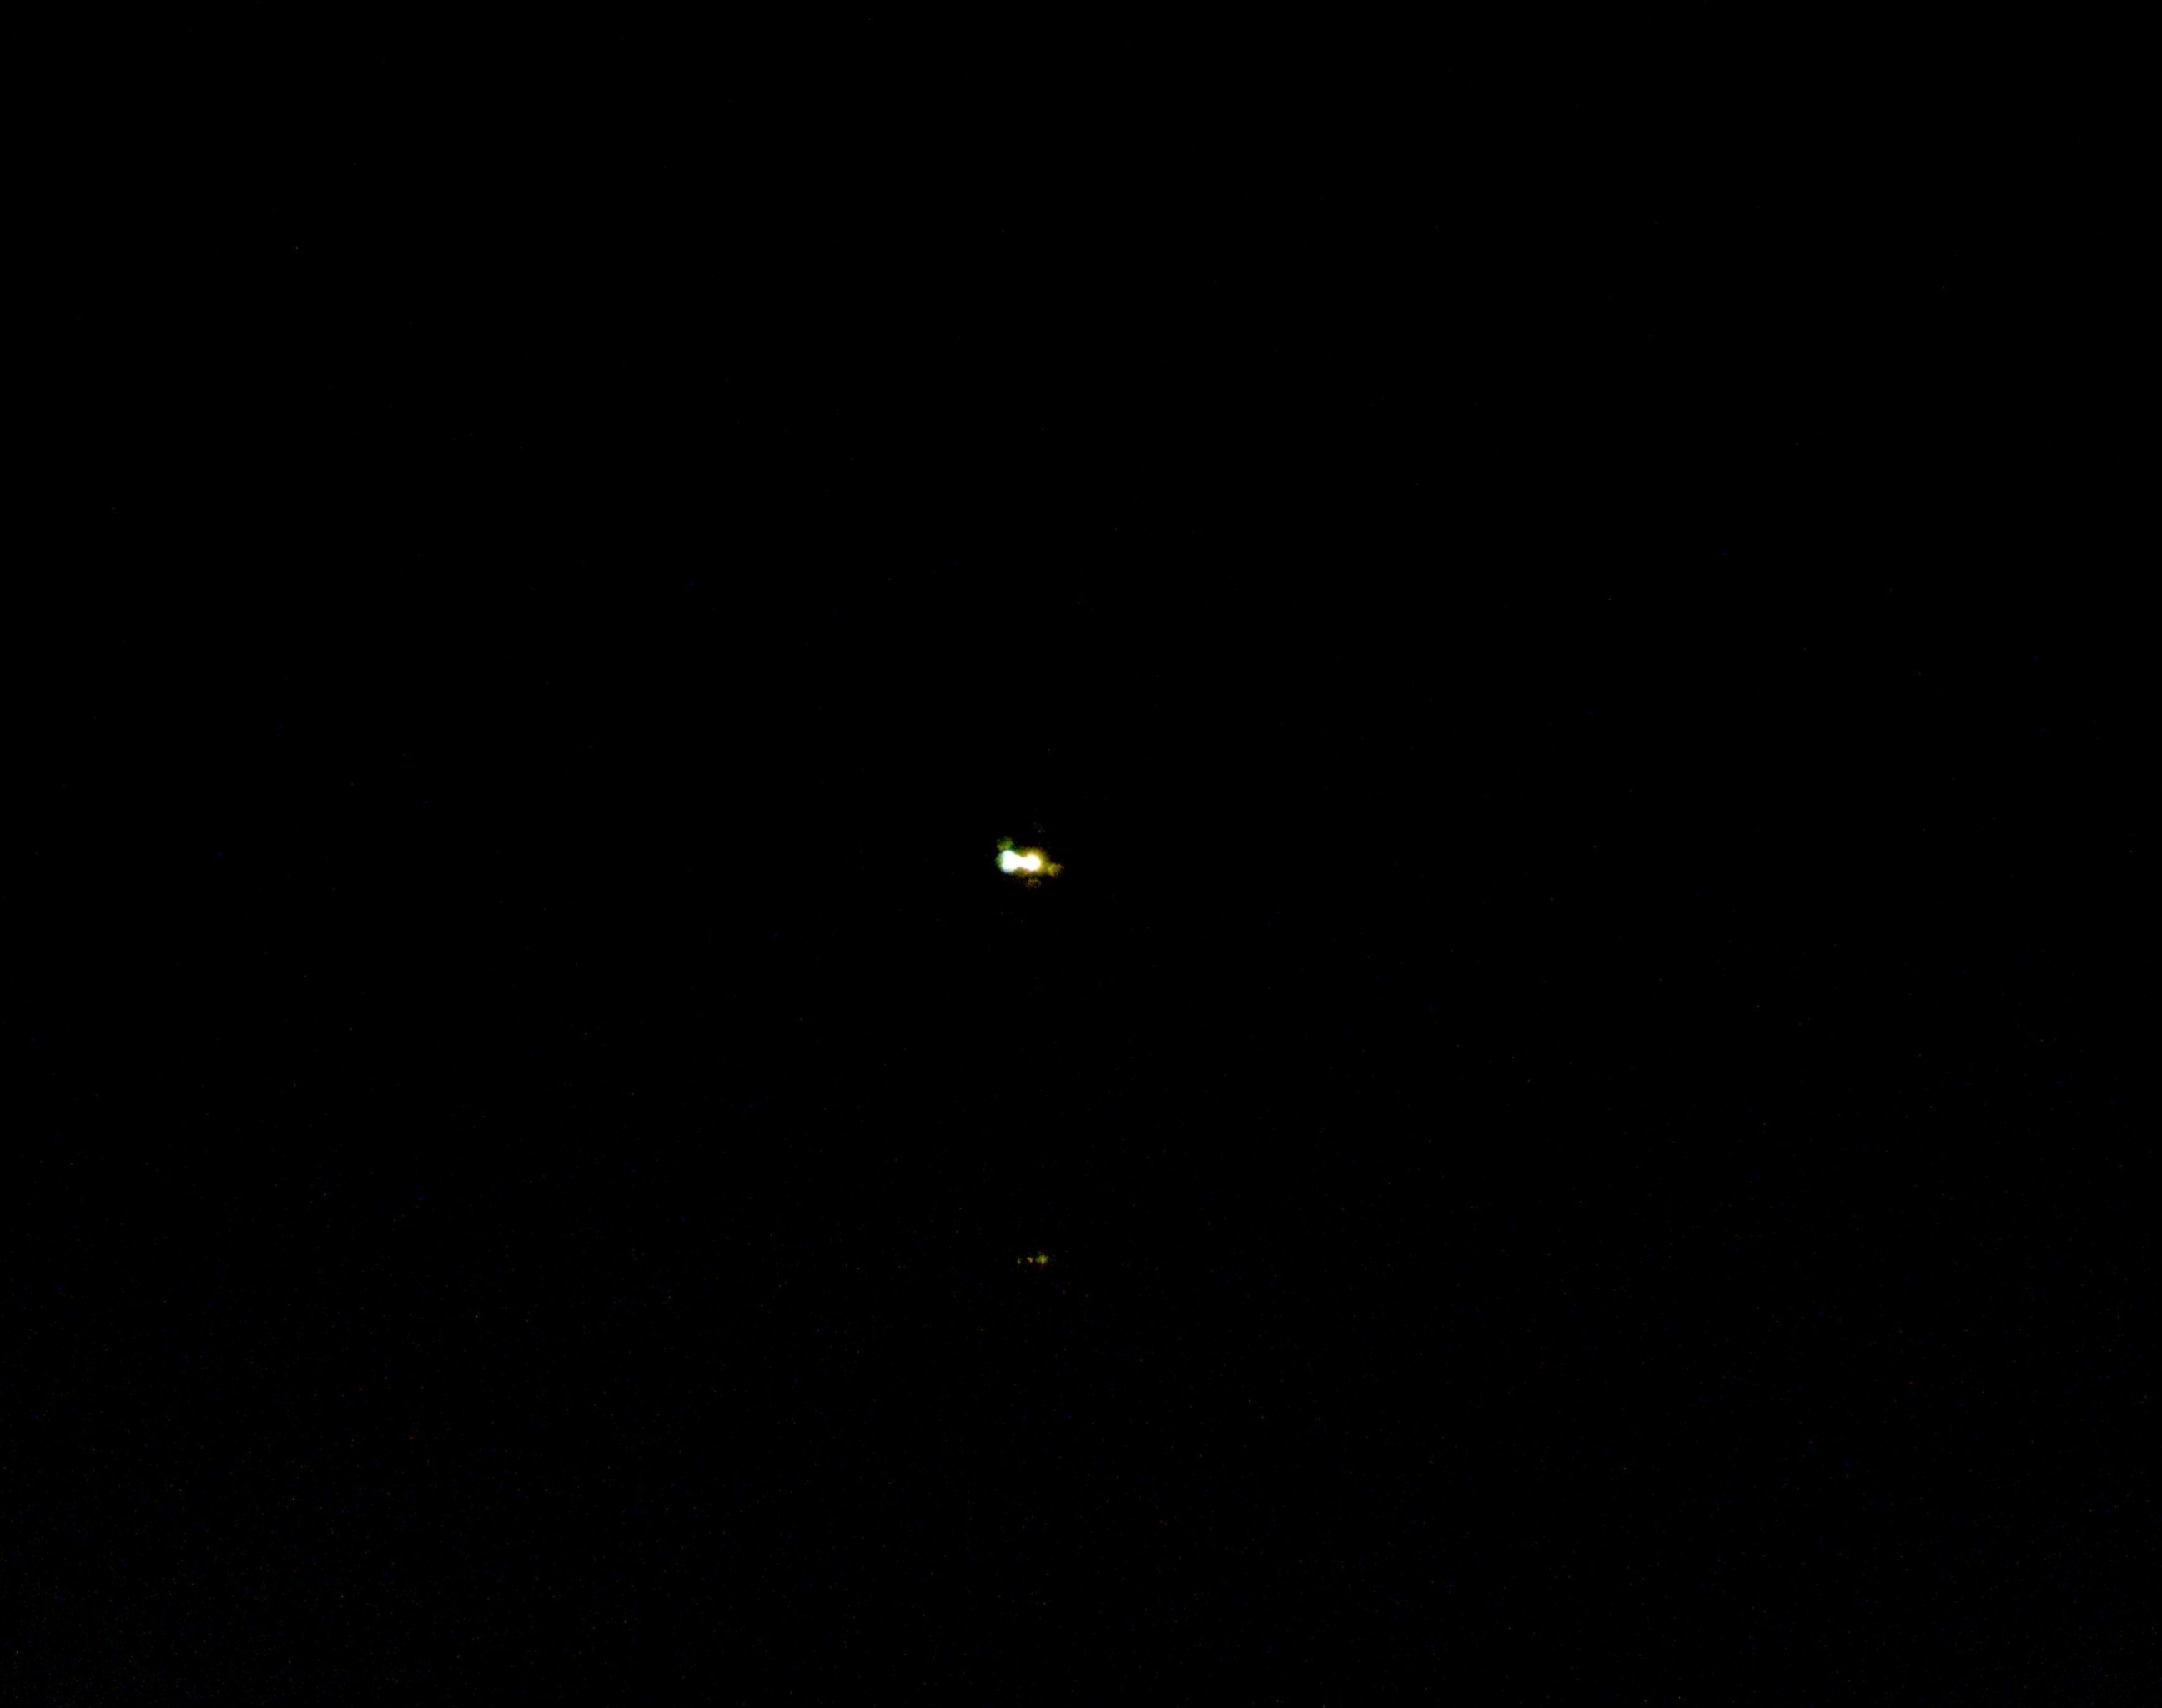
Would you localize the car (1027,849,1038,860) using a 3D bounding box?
[{"bbox_3d":[-9.097,0.065,142.771,2.000,2.002,3.996,0,2,-6],"label":"car"}]
